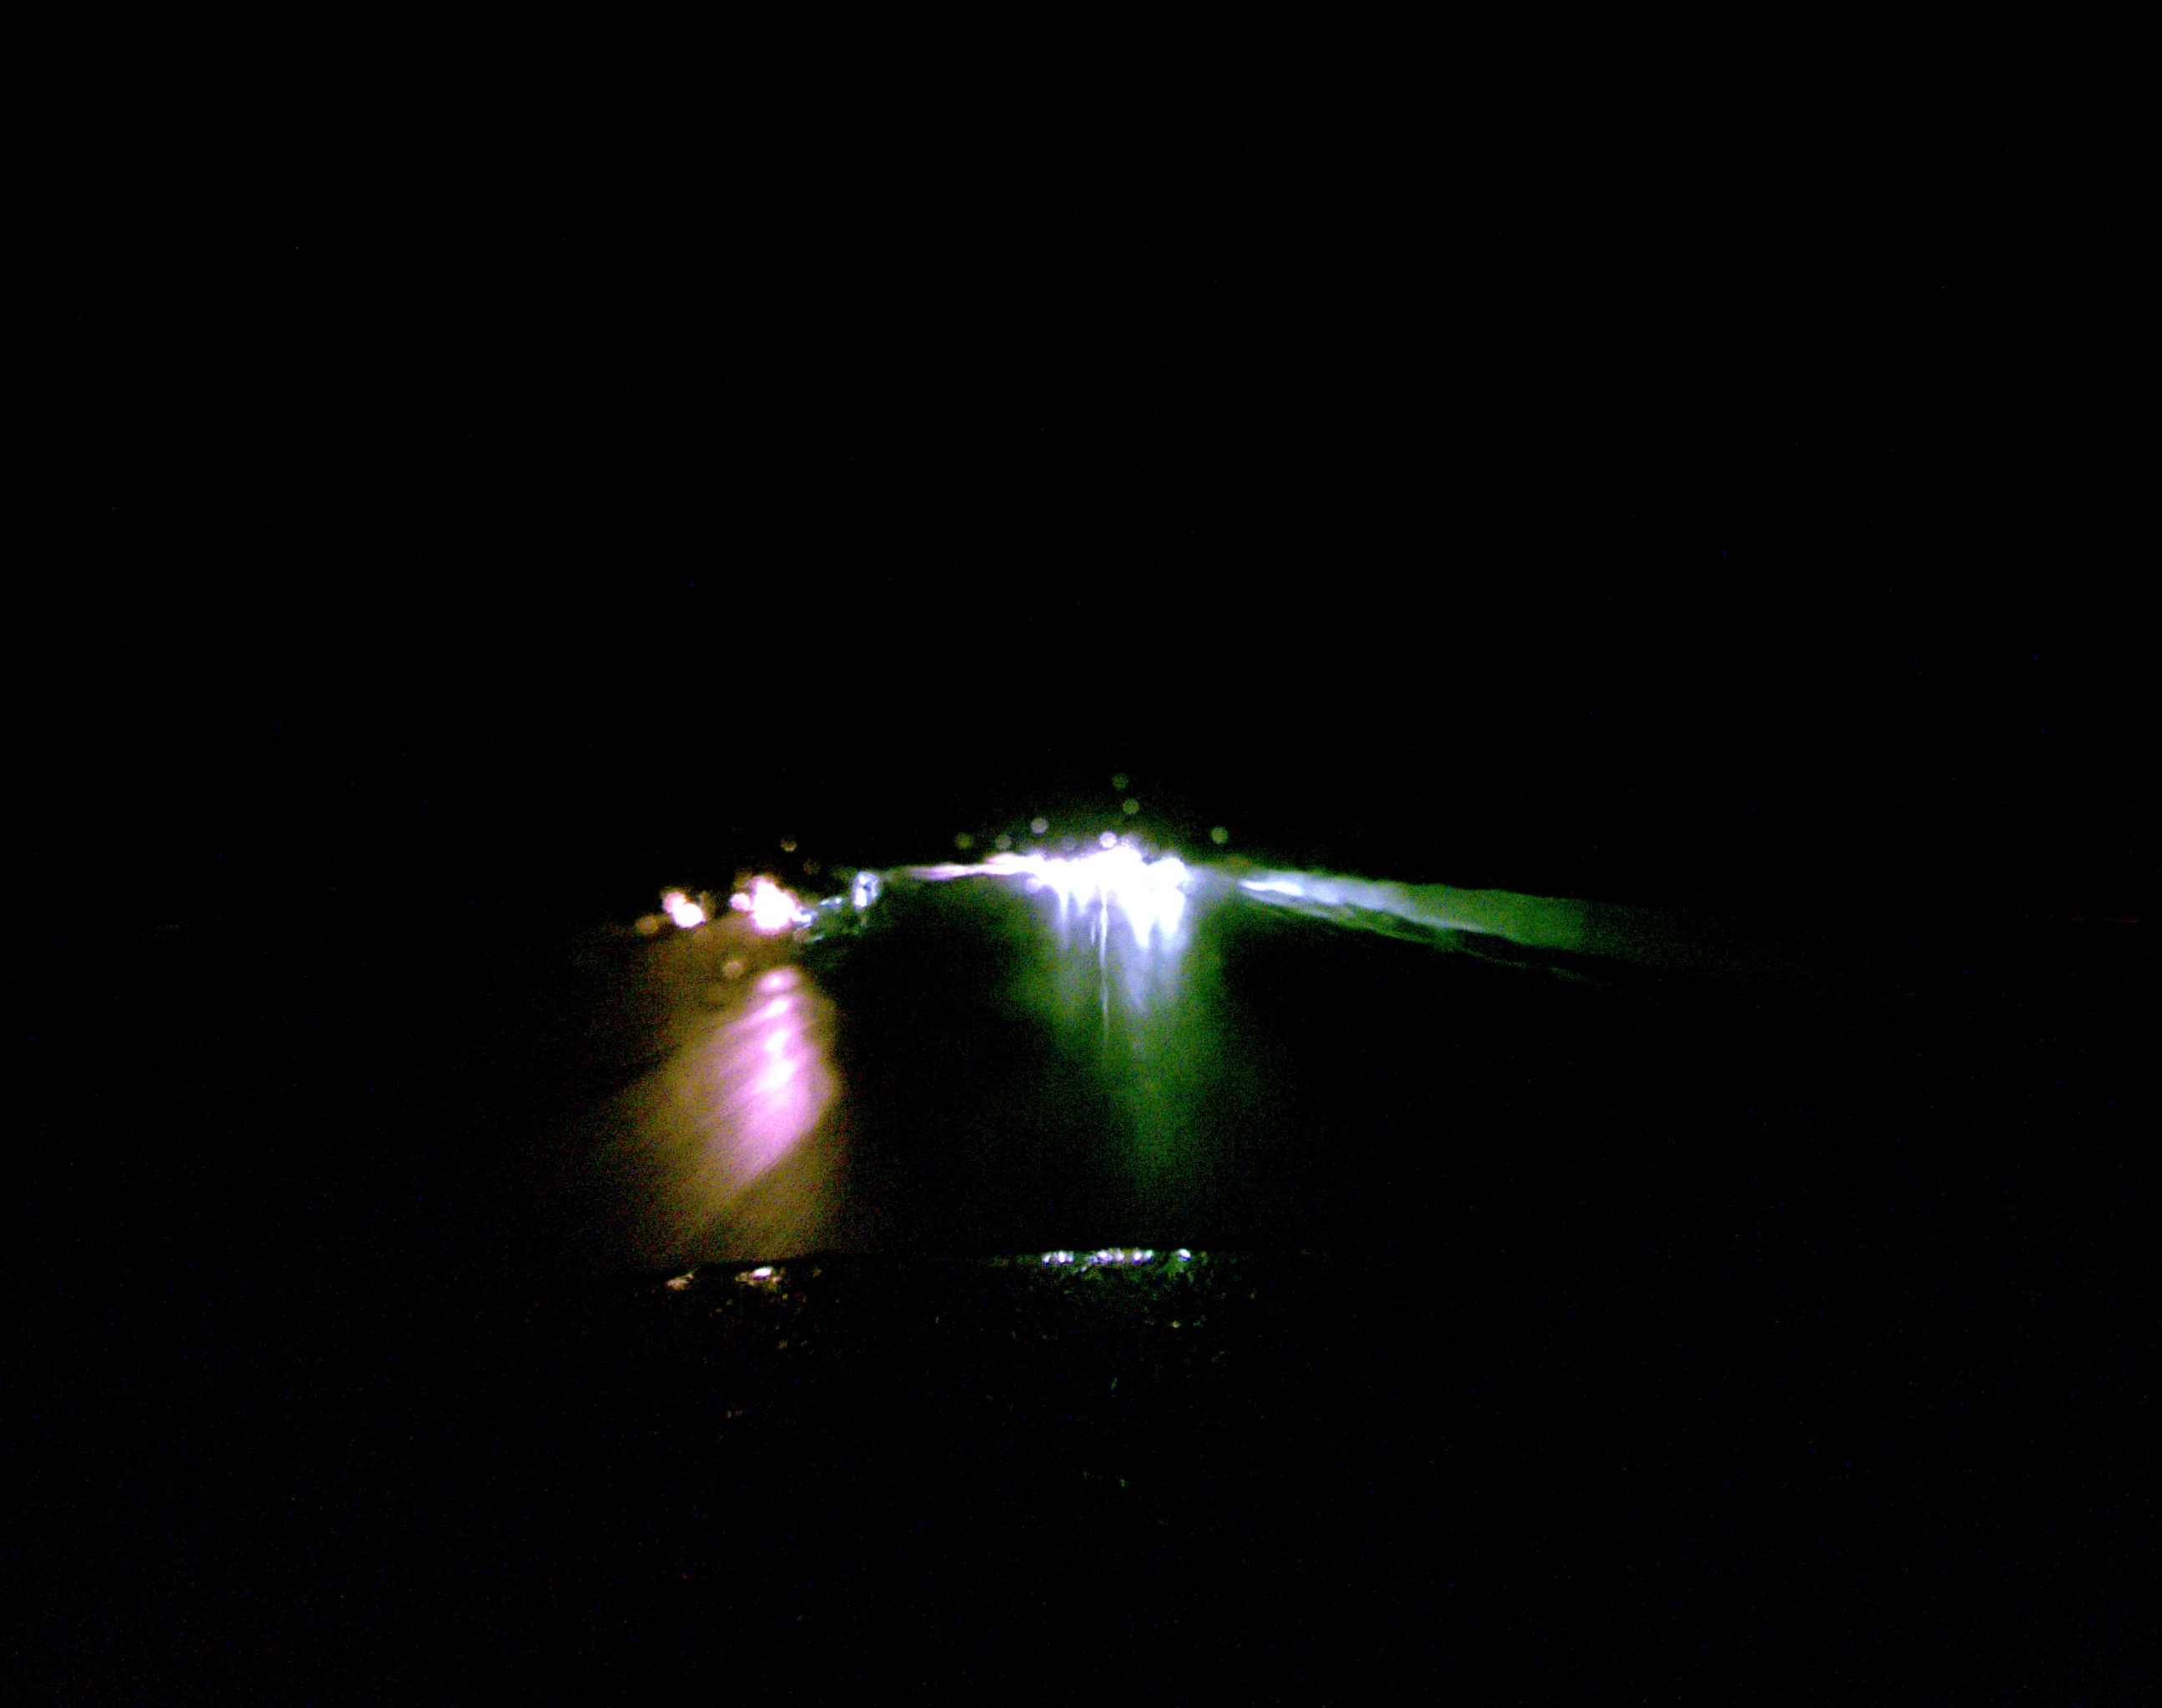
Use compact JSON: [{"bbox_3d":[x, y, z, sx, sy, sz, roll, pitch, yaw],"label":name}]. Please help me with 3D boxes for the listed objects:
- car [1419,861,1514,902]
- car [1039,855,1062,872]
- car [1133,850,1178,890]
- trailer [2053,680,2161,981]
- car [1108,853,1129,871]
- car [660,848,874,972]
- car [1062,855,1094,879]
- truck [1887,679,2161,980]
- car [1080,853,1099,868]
[{"bbox_3d":[15.245,1.051,30.294,1.745,1.423,4.000,-3,0,1],"label":"car"},{"bbox_3d":[-3.286,1.007,82.621,1.882,1.654,4.002,-3,0,5],"label":"car"},{"bbox_3d":[3.379,0.679,34.537,1.882,1.654,4.002,-3,0,5],"label":"car"},{"bbox_3d":[18.358,-0.420,8.291,2.411,4.795,10.170,-3,0,1],"label":"trailer"},{"bbox_3d":[3.715,0.784,75.248,1.882,1.654,4.001,-3,0,5],"label":"car"},{"bbox_3d":[-5.505,0.876,14.128,1.832,1.835,4.699,-3,0,2],"label":"car"},{"bbox_3d":[-0.210,0.932,56.036,1.882,1.654,4.002,-3,0,5],"label":"car"},{"bbox_3d":[18.429,-0.425,13.461,2.432,4.783,5.387,-3,0,1],"label":"truck"},{"bbox_3d":[1.019,0.761,91.392,1.882,1.654,4.001,-3,0,4],"label":"car"}]
